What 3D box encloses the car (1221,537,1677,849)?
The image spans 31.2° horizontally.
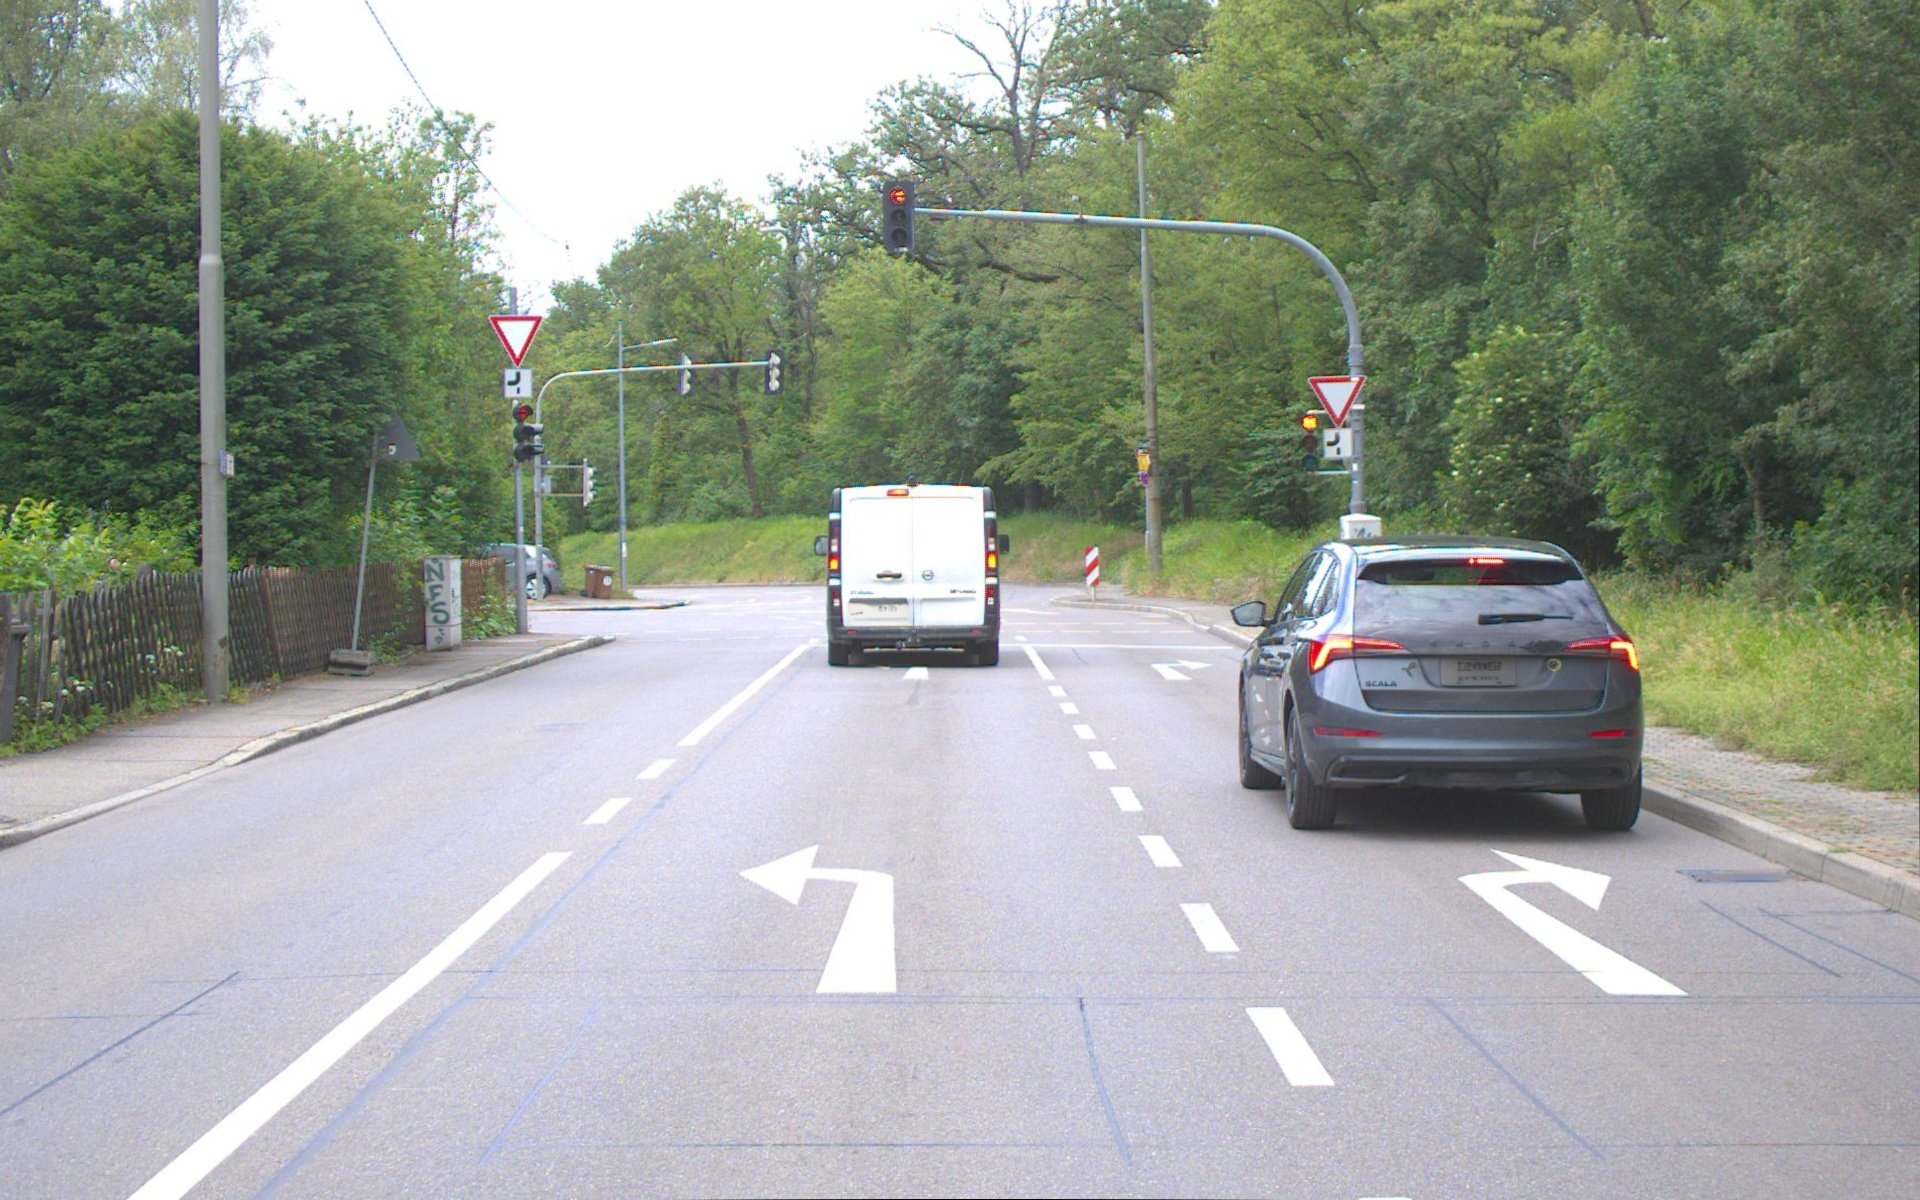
[{"bbox_3d":[2.459,0.400,18.211,1.792,1.445,4.000,0,1,-1],"label":"car"}]

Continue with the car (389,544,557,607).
[{"bbox_3d":[-12.707,-0.647,89.697,4.085,1.548,1.855,-1,2,-17],"label":"car"}]

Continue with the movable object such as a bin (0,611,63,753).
[{"bbox_3d":[-6.442,0.551,23.325,0.550,0.935,0.537,0,1,1],"label":"movable object such as a bin"}]

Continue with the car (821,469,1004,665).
[{"bbox_3d":[-0.593,-0.400,38.479,1.916,2.046,4.615,0,1,-2],"label":"car"}]
